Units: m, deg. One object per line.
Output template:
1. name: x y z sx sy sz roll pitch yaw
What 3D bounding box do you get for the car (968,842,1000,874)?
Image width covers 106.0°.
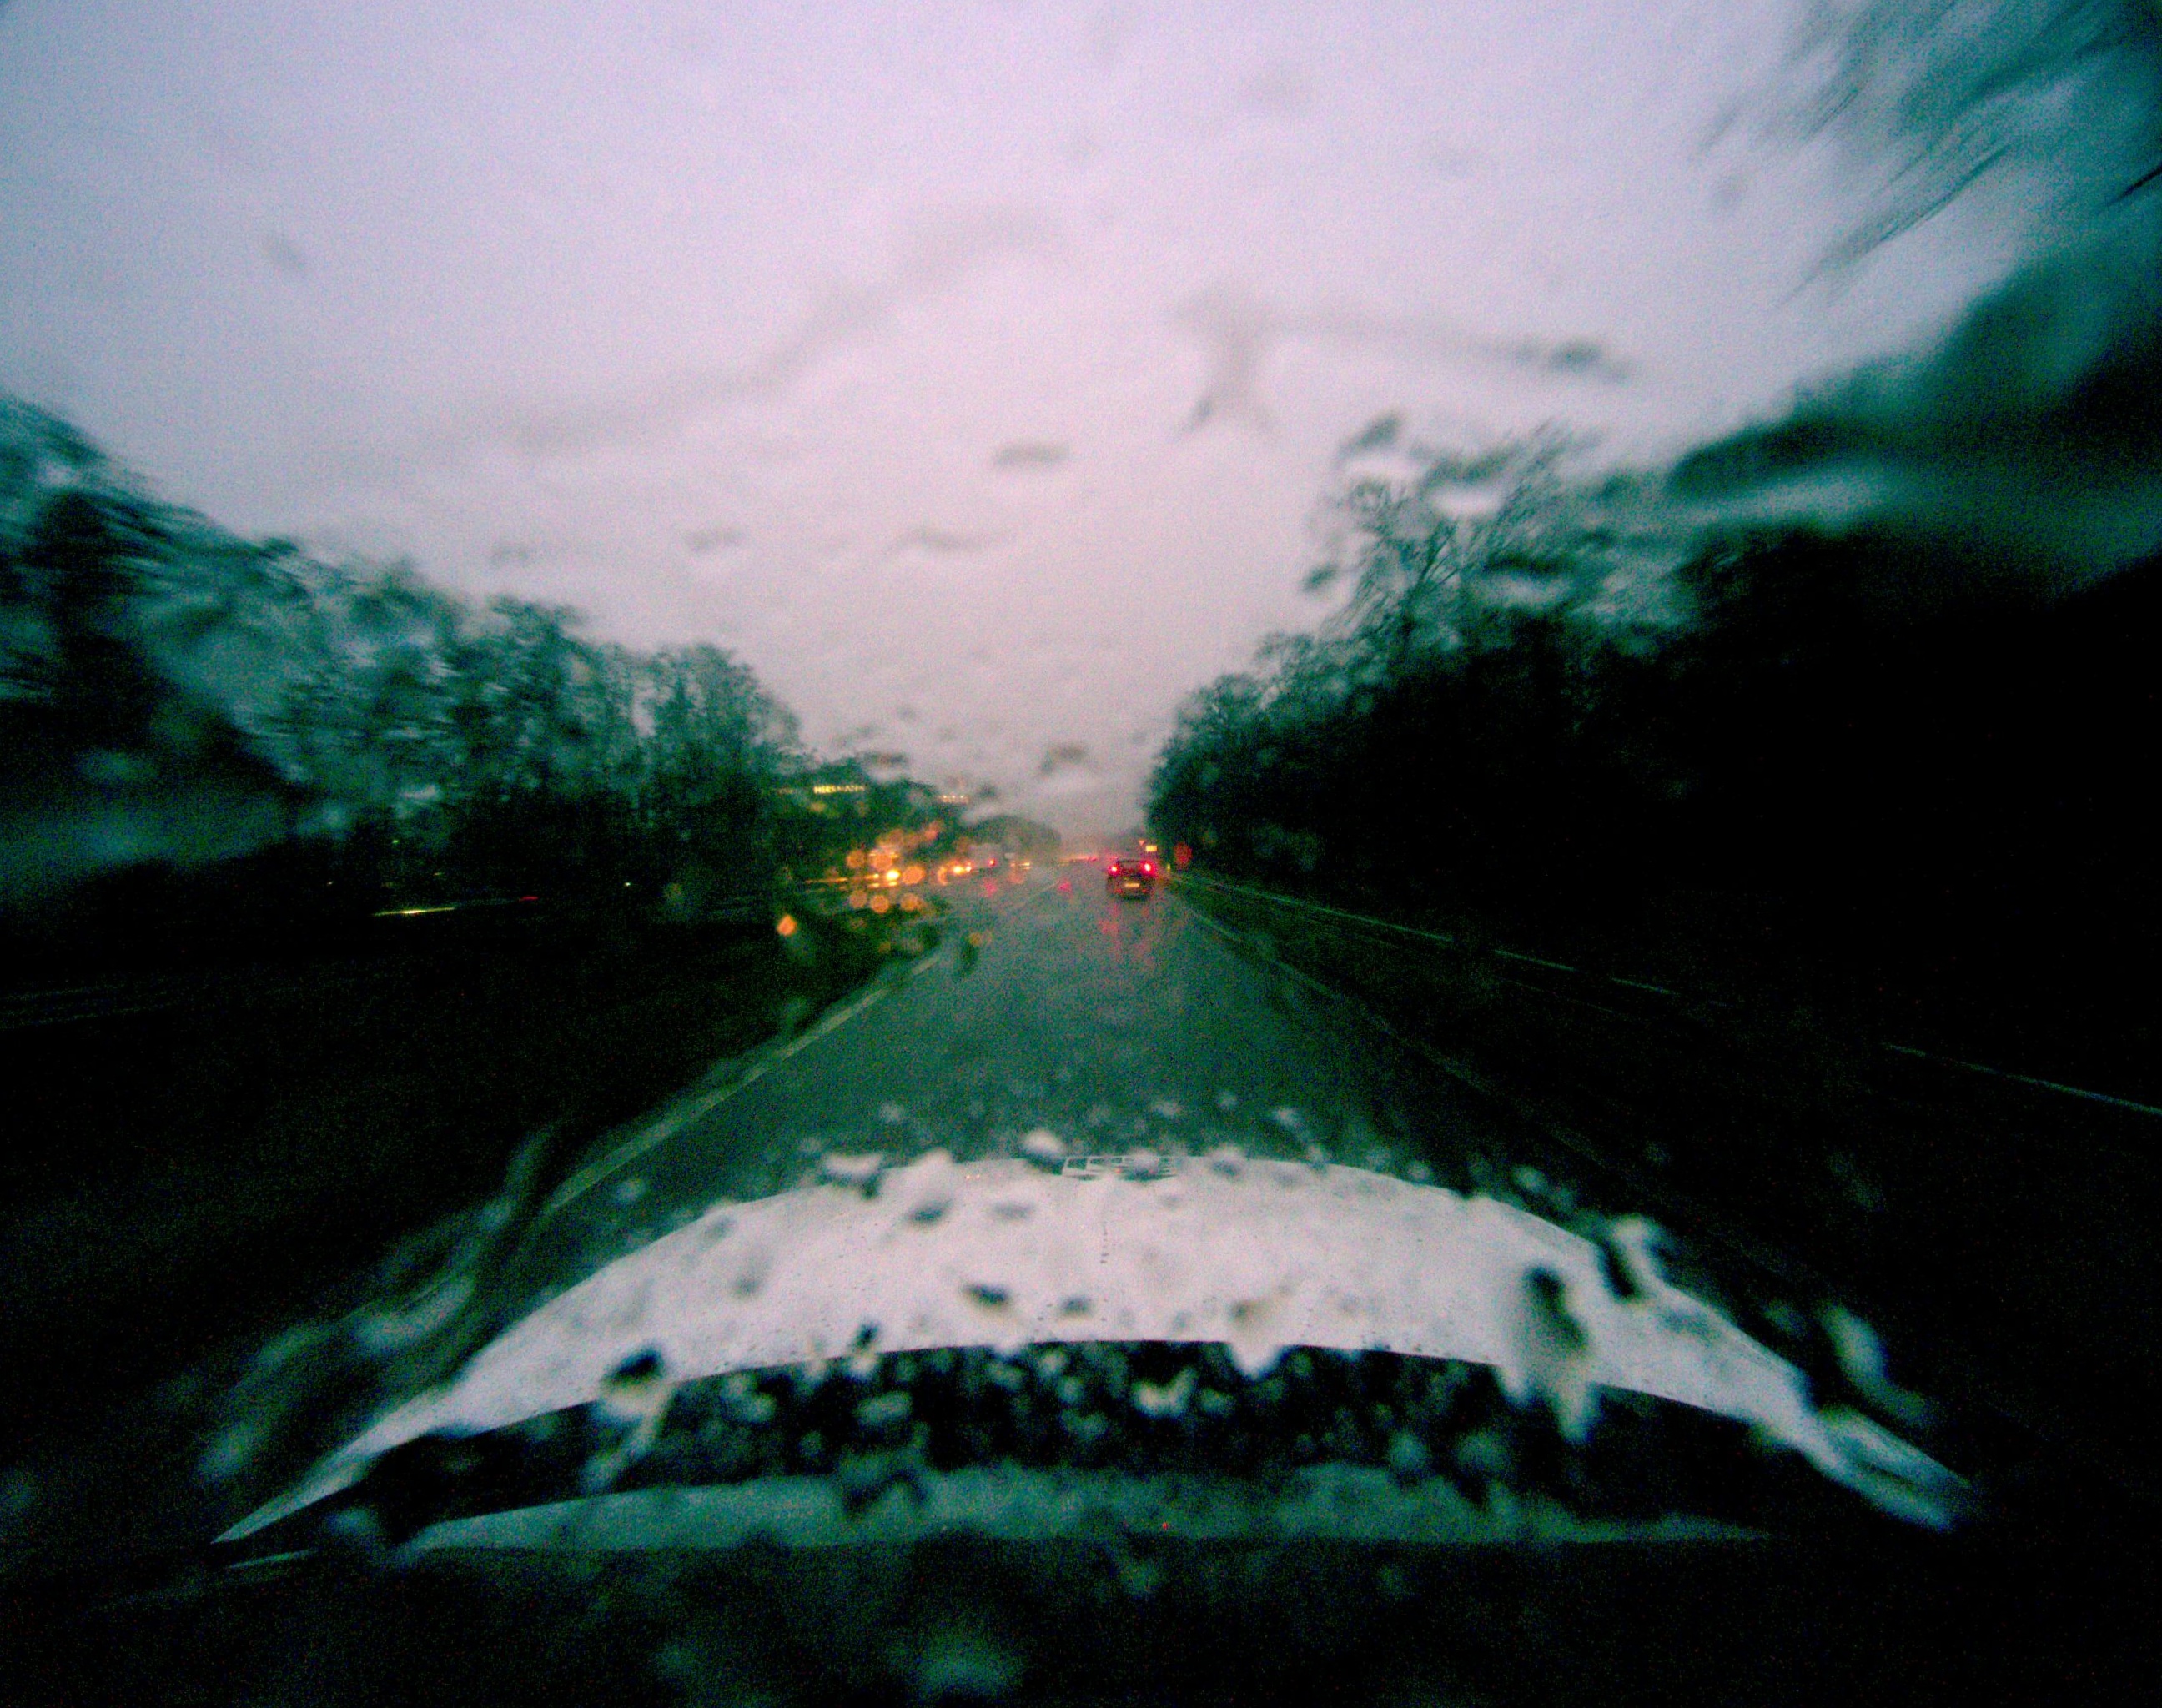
1. car: -7.654 0.323 64.690 1.994 2.453 4.000 0 0 0

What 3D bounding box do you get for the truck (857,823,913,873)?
1. truck: -19.824 -0.579 82.716 3.470 4.847 6.044 0 0 8

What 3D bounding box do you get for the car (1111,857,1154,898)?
1. car: 1.877 0.844 30.263 1.521 1.416 3.481 -1 0 2
